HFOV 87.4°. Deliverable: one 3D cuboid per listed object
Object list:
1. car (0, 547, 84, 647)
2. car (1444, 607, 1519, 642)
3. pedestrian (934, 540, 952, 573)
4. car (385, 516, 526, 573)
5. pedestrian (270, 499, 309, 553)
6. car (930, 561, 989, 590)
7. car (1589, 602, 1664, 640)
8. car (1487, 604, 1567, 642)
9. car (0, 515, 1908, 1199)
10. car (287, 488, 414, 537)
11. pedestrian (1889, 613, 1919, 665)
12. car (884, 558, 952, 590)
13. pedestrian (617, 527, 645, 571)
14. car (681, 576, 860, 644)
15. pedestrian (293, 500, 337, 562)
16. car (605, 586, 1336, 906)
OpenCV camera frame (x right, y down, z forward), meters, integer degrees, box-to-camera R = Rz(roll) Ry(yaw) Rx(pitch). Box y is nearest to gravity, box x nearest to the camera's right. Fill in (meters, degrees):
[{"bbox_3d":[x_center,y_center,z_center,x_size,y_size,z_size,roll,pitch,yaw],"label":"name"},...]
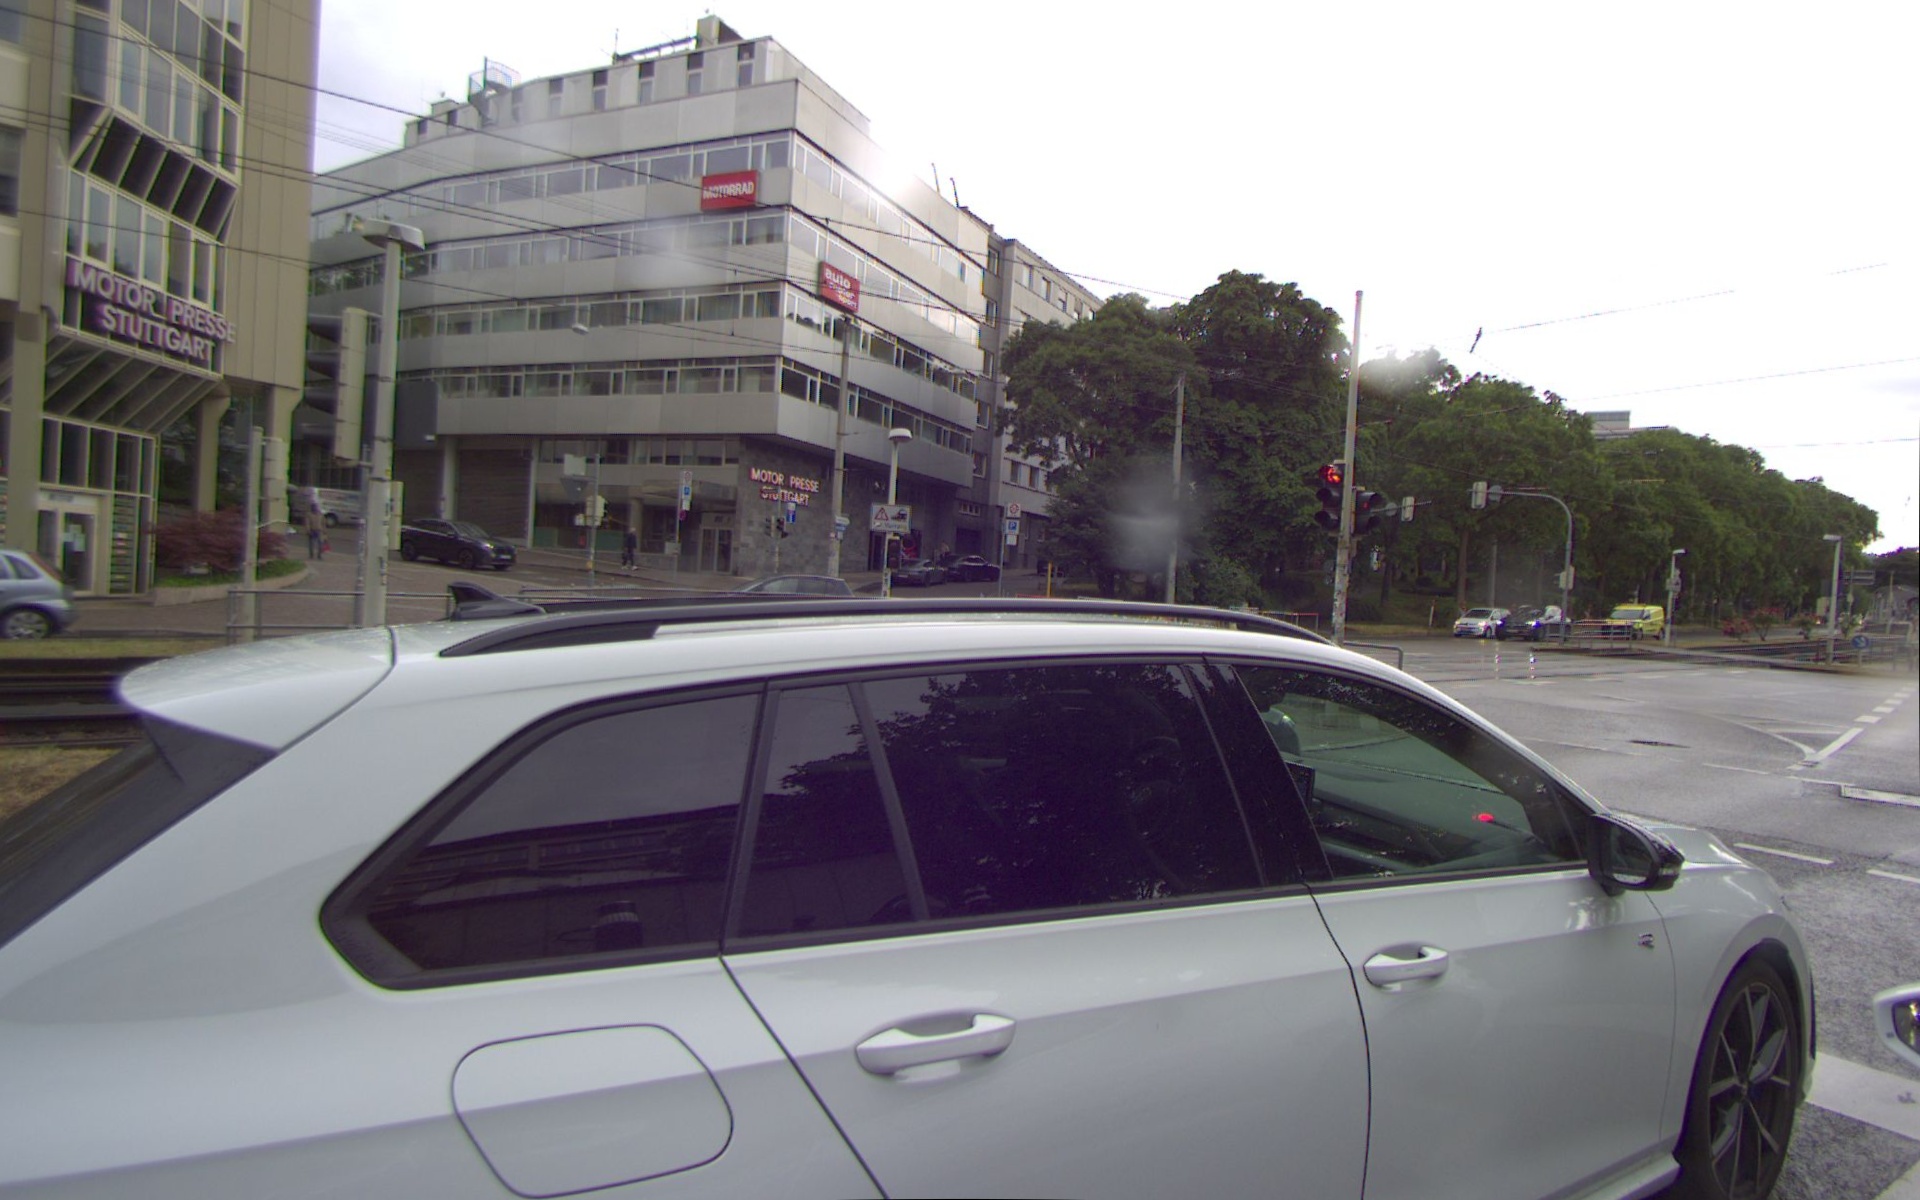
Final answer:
[{"bbox_3d":[-14.654,-0.086,13.875,3.843,1.375,1.612,1,2,-42],"label":"car"},{"bbox_3d":[26.059,1.214,50.182,3.648,1.566,1.905,2,1,-37],"label":"car"},{"bbox_3d":[-1.001,-2.588,59.348,0.708,1.886,0.757,6,5,38],"label":"pedestrian"},{"bbox_3d":[-18.722,-2.066,37.276,4.794,1.601,1.999,7,3,23],"label":"car"},{"bbox_3d":[-21.828,-2.398,32.701,0.746,1.661,0.719,5,2,25],"label":"pedestrian"},{"bbox_3d":[0.027,-1.353,55.581,1.842,1.450,3.998,3,2,22],"label":"car"},{"bbox_3d":[35.777,1.146,53.870,4.525,1.875,1.905,2,1,-38],"label":"car"},{"bbox_3d":[26.322,1.076,46.571,3.648,1.566,1.905,2,1,-37],"label":"car"},{"bbox_3d":[0.295,0.704,2.470,4.423,1.461,1.787,2,0,-30],"label":"car"},{"bbox_3d":[-32.035,-4.541,52.992,1.964,2.040,5.403,2,0,30],"label":"car"},{"bbox_3d":[35.272,1.439,37.434,0.860,1.826,0.862,5,3,45],"label":"pedestrian"},{"bbox_3d":[-2.063,-1.293,50.607,1.842,1.450,4.091,3,2,22],"label":"car"},{"bbox_3d":[-14.724,-2.259,44.915,0.833,1.886,0.719,5,2,25],"label":"pedestrian"},{"bbox_3d":[-4.382,0.224,23.154,3.813,1.375,1.625,2,2,-20],"label":"car"},{"bbox_3d":[-19.797,-2.114,30.835,0.746,1.811,0.830,5,2,25],"label":"pedestrian"},{"bbox_3d":[0.192,0.720,6.483,4.423,1.461,1.787,2,0,-30],"label":"car"}]
